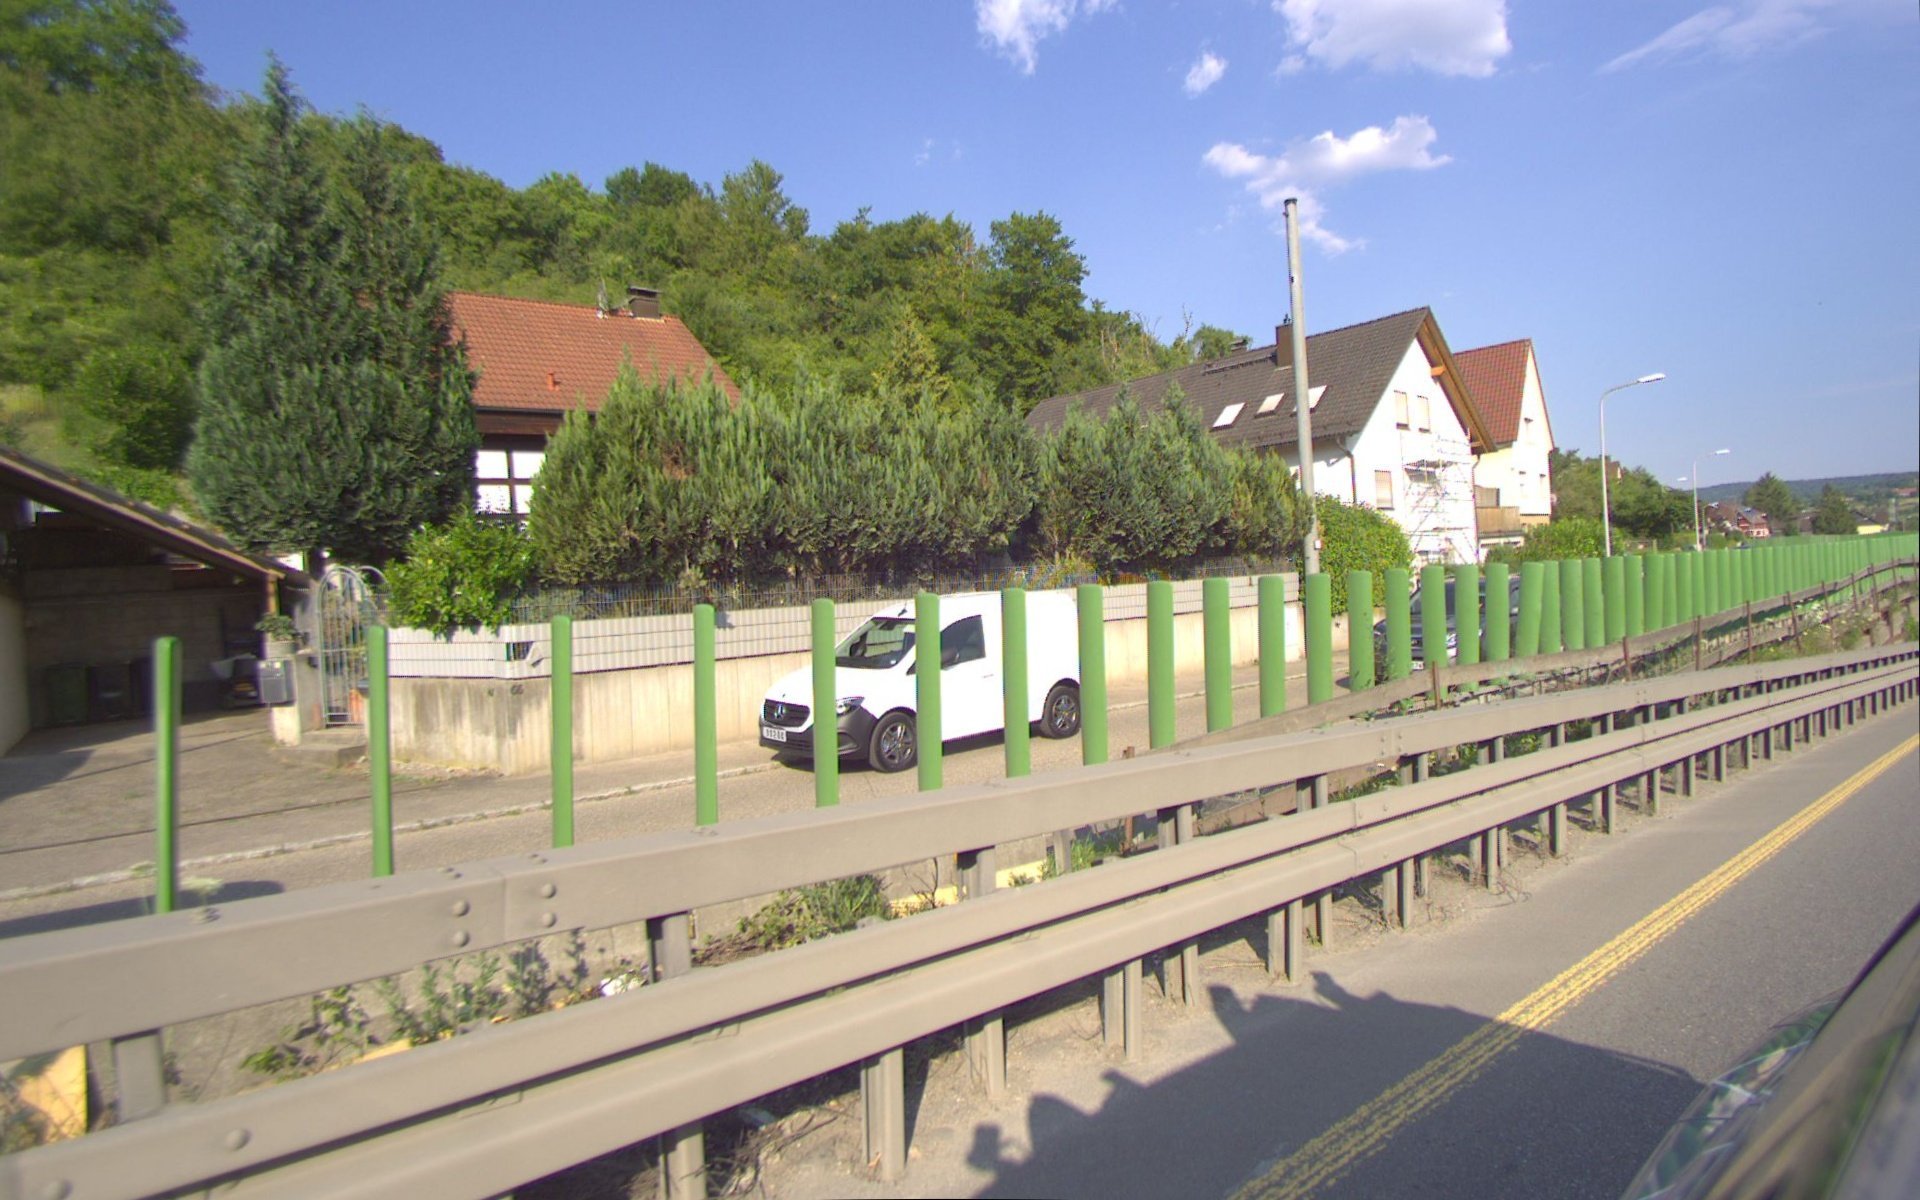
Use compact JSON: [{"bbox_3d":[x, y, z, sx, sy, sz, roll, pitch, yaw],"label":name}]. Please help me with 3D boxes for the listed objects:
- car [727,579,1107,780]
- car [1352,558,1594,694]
[{"bbox_3d":[-0.385,0.794,12.244,4.363,1.894,1.809,-3,0,-41],"label":"car"},{"bbox_3d":[8.098,0.391,15.830,4.173,1.836,1.885,0,-3,-41],"label":"car"}]
